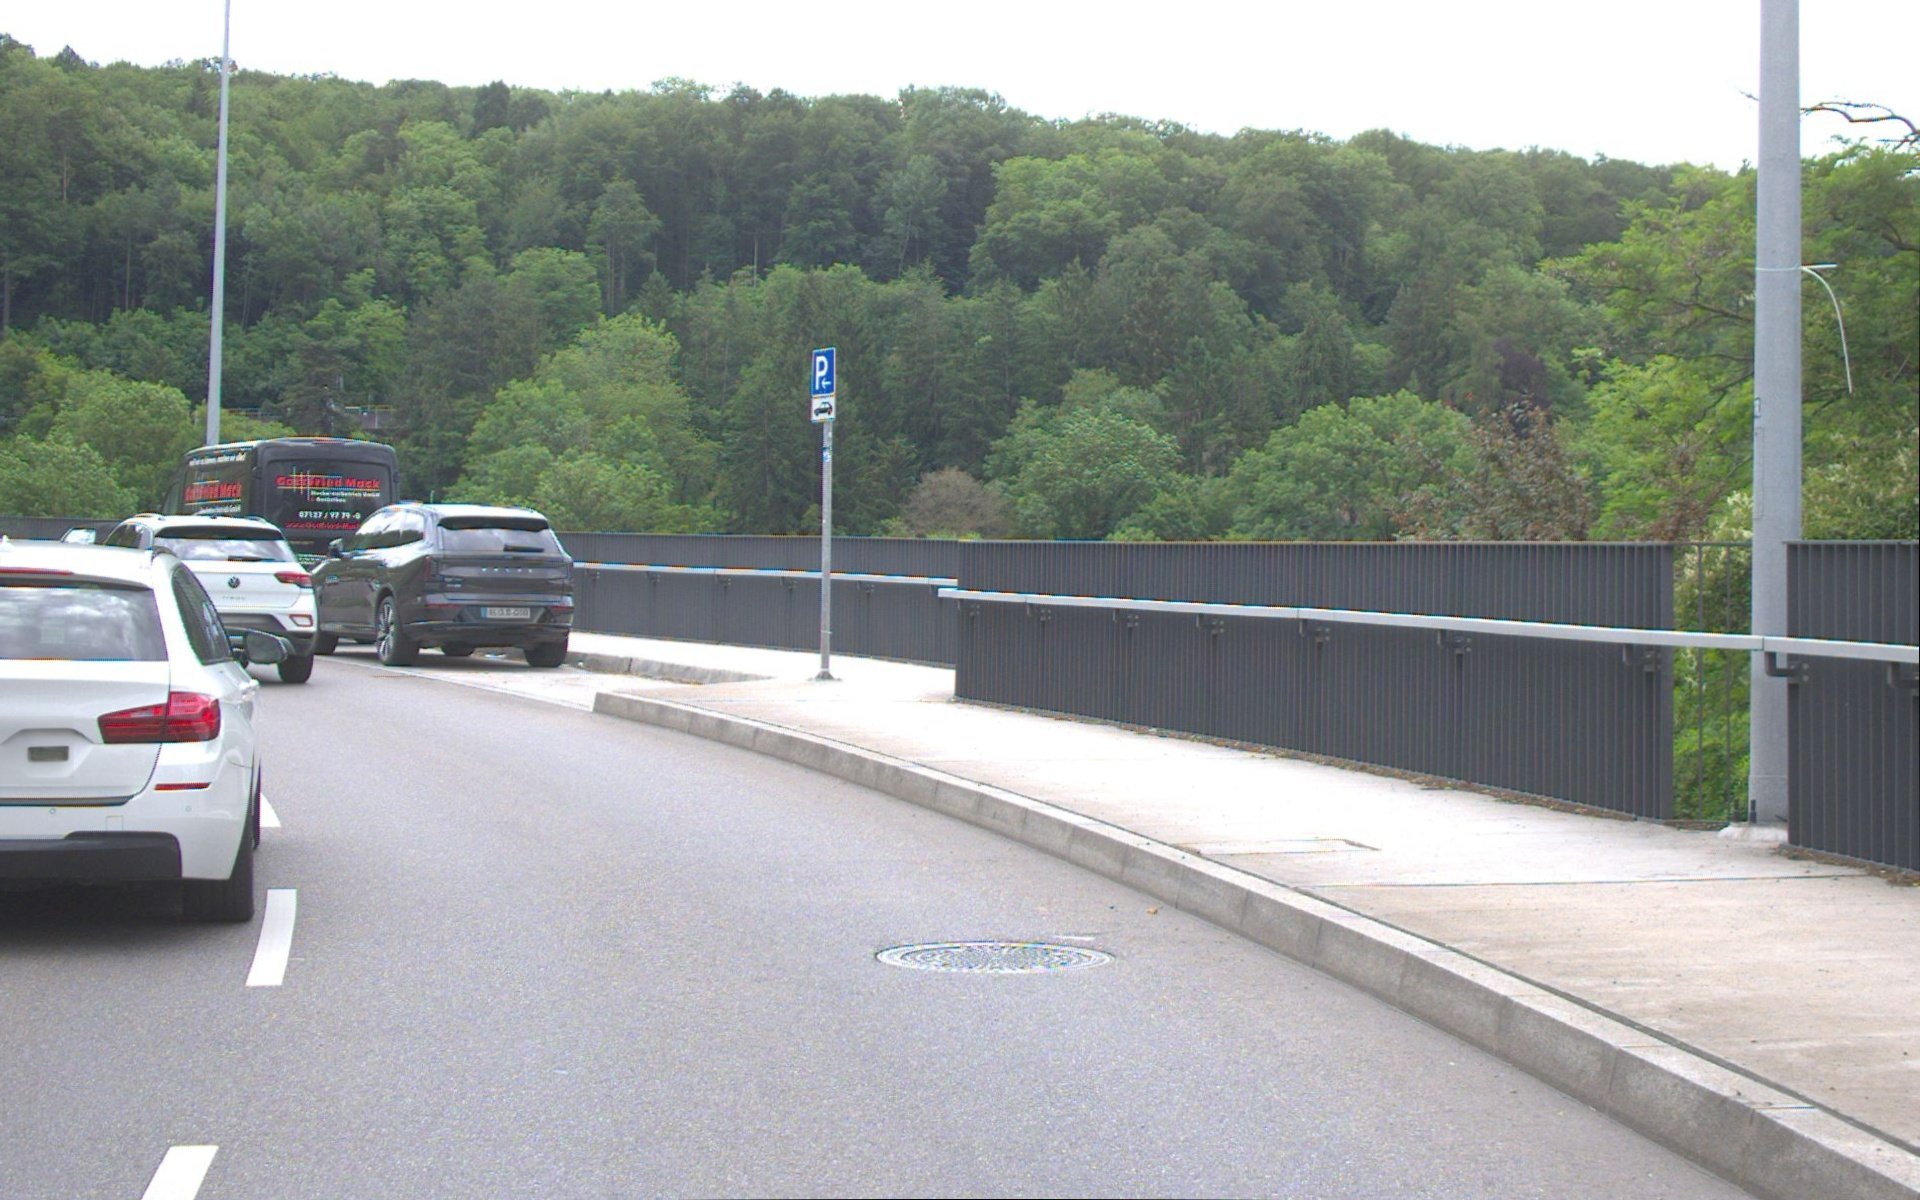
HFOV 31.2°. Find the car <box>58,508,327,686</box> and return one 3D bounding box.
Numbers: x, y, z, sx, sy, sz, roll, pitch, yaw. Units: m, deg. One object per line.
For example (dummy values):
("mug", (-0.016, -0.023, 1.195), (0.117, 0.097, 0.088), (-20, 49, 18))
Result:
("car", (-7.477, -0.058, 33.252), (1.827, 1.600, 4.001), (-1, 1, -23))

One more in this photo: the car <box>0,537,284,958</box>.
("car", (-3.816, 0.487, 14.146), (1.827, 1.454, 4.487), (-1, 1, -9))

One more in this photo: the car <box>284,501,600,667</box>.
("car", (-5.839, -0.209, 38.190), (1.993, 1.712, 5.050), (0, 1, -27))

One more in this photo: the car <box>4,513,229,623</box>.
("car", (-12.080, -0.474, 49.105), (1.714, 1.426, 3.849), (1, 1, -37))

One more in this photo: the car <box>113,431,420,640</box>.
("car", (-9.027, -0.889, 44.322), (2.166, 2.513, 5.772), (-1, 2, -30))
